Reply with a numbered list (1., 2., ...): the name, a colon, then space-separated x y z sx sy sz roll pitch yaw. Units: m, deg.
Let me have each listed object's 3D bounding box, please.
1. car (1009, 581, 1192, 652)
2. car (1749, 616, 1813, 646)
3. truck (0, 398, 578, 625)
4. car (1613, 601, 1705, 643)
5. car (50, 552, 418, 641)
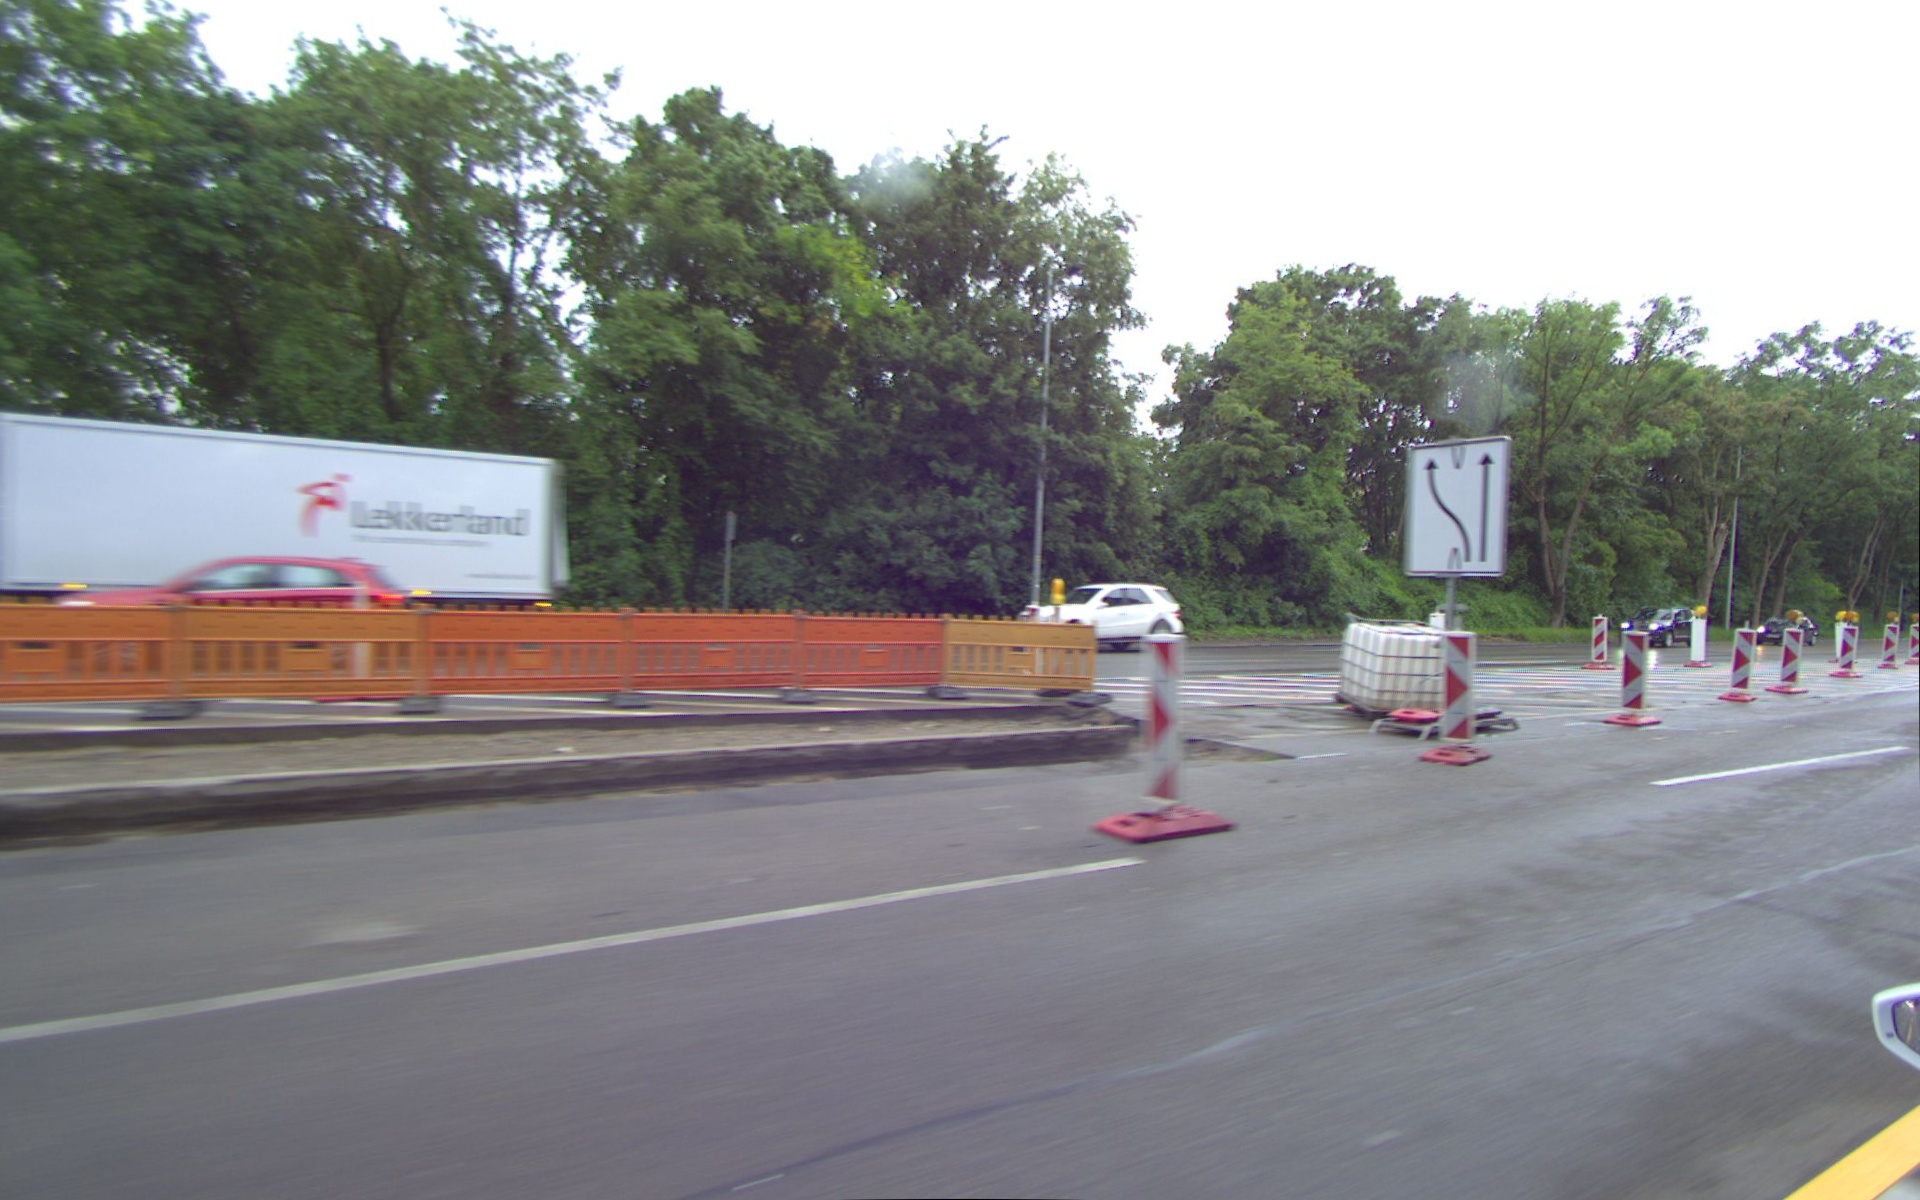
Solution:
1. car: 3.755 0.484 26.559 4.662 1.746 1.836 1 -2 -30
2. car: 41.642 1.555 50.940 3.500 1.476 1.517 1 -1 -32
3. truck: -12.032 -1.286 17.112 10.025 3.190 2.783 1 1 -29
4. car: 29.457 0.919 42.307 4.152 1.669 1.627 1 0 -32
5. car: -10.447 -0.026 14.891 4.231 1.168 1.598 1 1 -30
